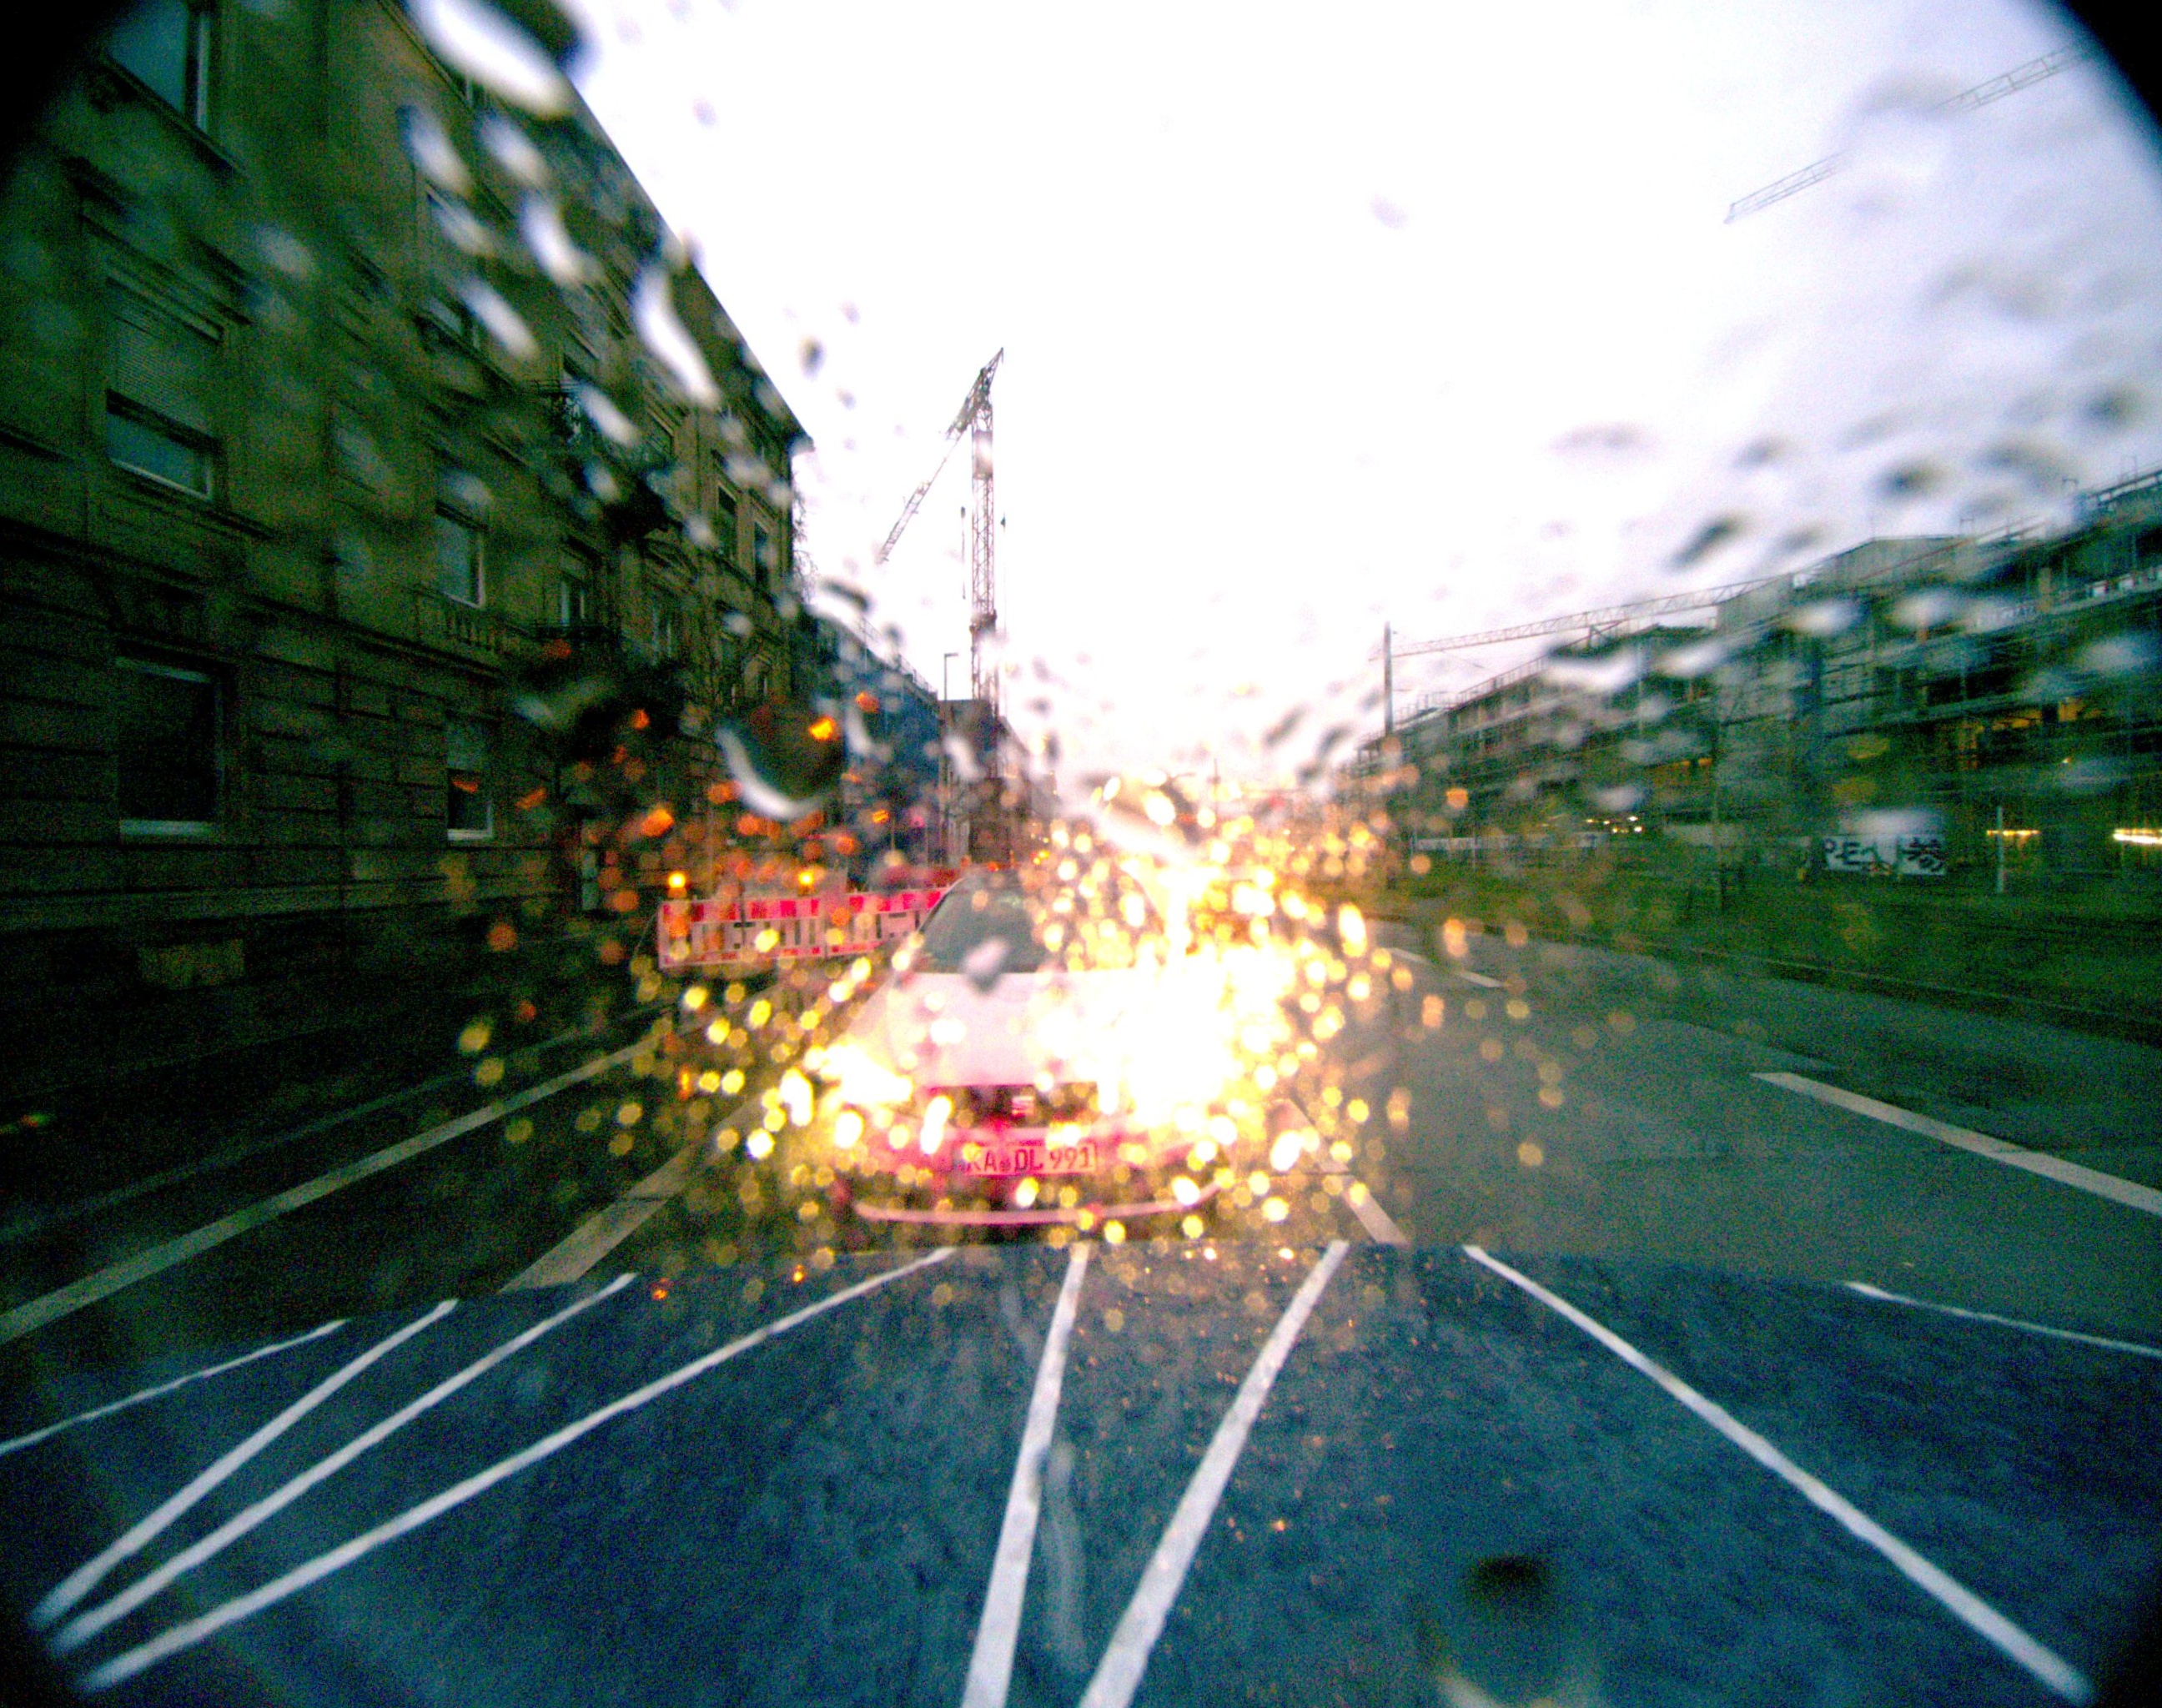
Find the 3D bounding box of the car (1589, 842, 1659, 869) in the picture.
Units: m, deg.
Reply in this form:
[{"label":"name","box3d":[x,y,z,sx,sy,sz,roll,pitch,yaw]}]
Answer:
[{"label":"car","box3d":[37.483,0.075,52.580,1.998,1.761,4.000,-2,1,2]}]

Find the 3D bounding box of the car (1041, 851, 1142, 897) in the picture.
[{"label":"car","box3d":[0.336,0.785,30.782,1.849,1.644,4.313,-3,1,-35]}]

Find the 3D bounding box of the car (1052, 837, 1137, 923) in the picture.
[{"label":"car","box3d":[0.269,0.568,19.248,1.858,1.886,3.999,-2,1,-1]}]

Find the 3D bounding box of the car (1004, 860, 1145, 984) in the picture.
[{"label":"car","box3d":[-0.124,0.890,11.749,1.764,1.443,3.999,-2,1,-1]}]

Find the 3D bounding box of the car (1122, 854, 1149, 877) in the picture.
[{"label":"car","box3d":[4.120,0.848,58.309,1.844,1.547,4.000,-2,1,2]}]

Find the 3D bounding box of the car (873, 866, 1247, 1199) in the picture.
[{"label":"car","box3d":[-0.137,0.899,5.692,1.764,1.443,3.999,-2,1,-1]}]

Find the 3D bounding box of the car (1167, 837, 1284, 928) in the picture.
[{"label":"car","box3d":[3.054,0.531,16.853,1.858,1.723,4.000,-2,1,1]}]
